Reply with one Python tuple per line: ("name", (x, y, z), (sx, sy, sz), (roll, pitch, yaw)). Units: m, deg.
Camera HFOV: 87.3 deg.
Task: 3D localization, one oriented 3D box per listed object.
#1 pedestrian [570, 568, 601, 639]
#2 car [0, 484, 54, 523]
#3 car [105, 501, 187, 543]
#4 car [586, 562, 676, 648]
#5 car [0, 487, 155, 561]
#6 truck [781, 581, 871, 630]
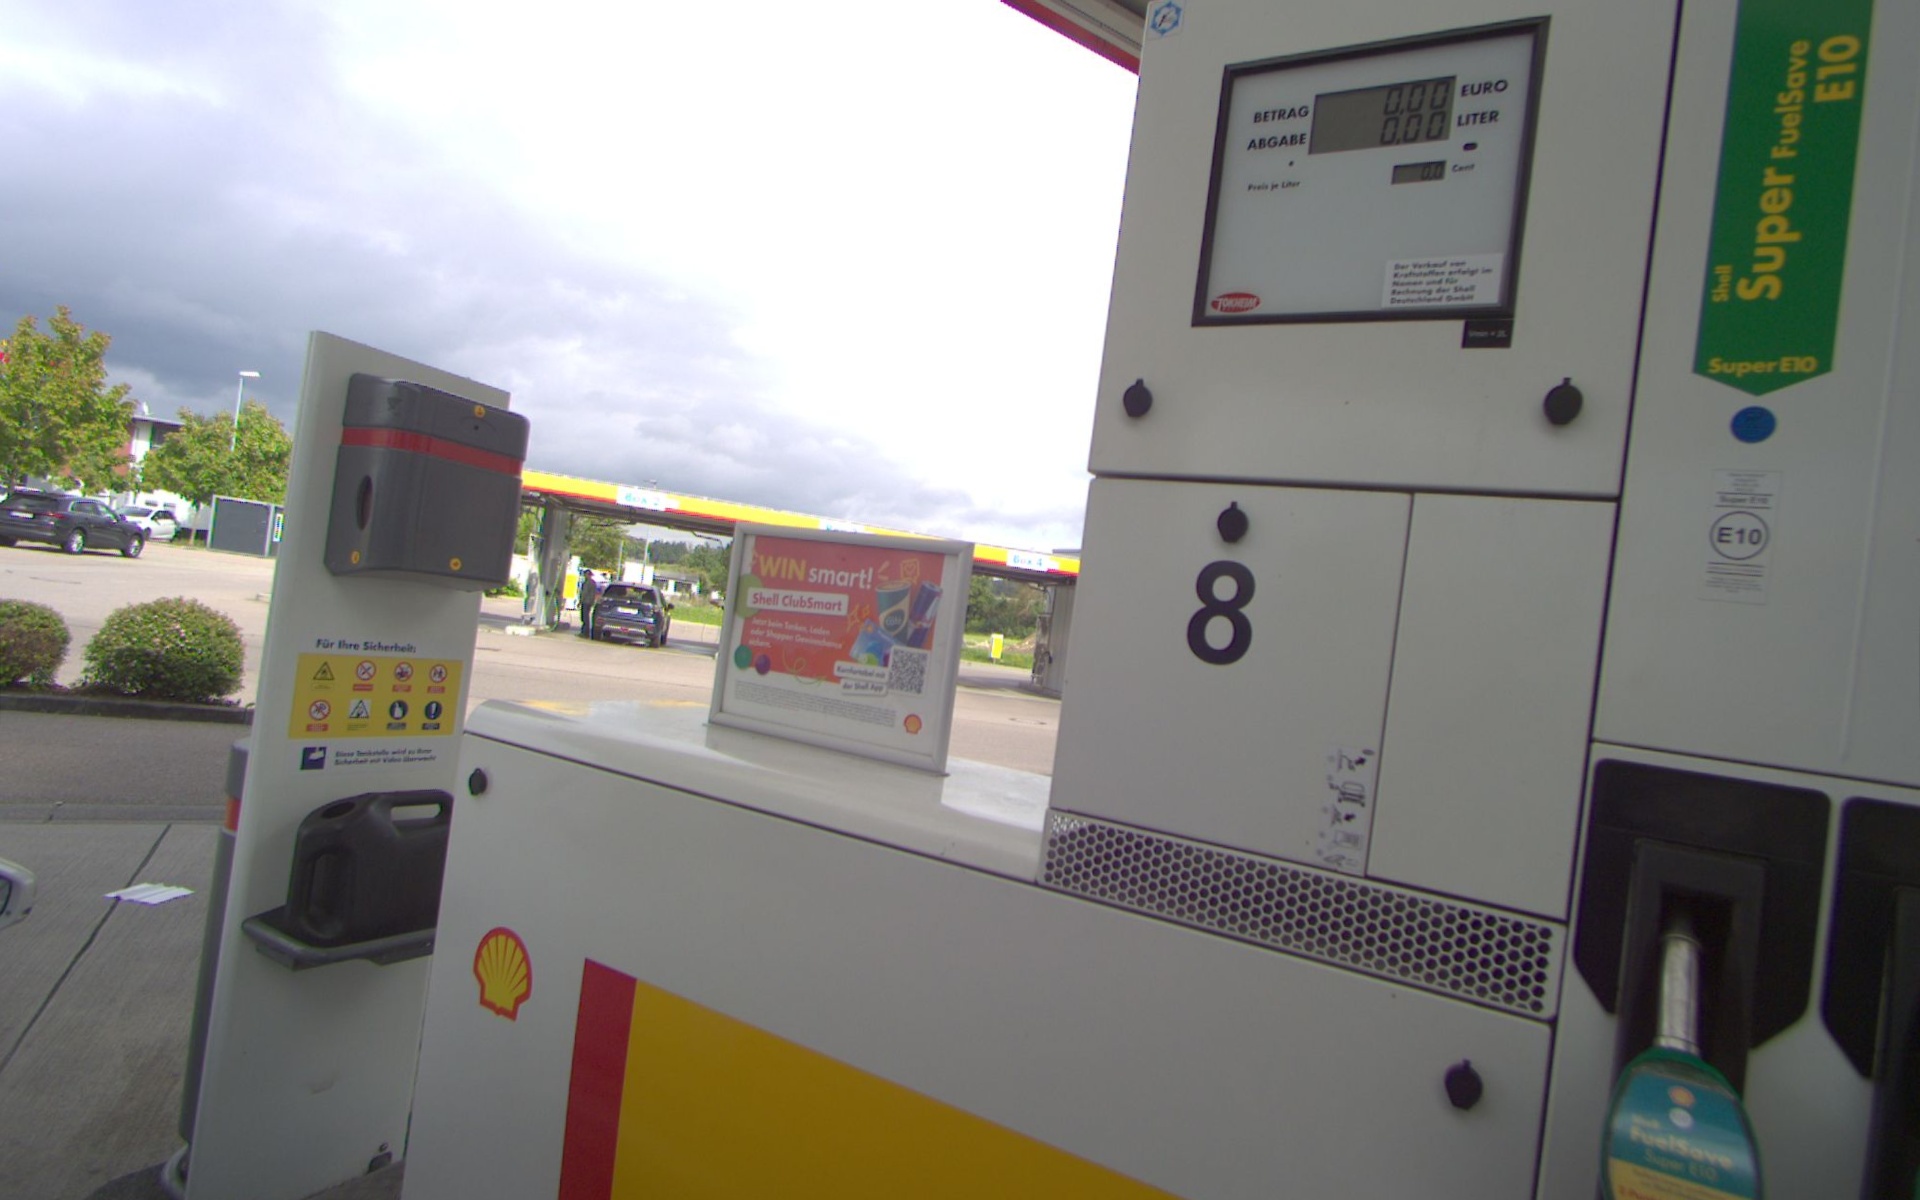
("pedestrian", (-9.691, 0.093, 26.025), (0.550, 1.742, 0.526), (7, -1, -21))
("car", (-57.357, -5.920, 60.263), (2.149, 1.854, 4.870), (8, -2, -11))
("car", (-35.258, -3.351, 43.665), (1.346, 1.322, 3.098), (8, -2, -12))
("car", (-8.700, 0.146, 26.877), (1.696, 1.919, 3.800), (8, -2, -12))
("car", (-25.931, -2.176, 29.278), (1.855, 1.566, 4.498), (8, -2, -10))
("truck", (-13.009, 0.553, 97.522), (7.978, 3.575, 2.687), (8, -2, -19))
